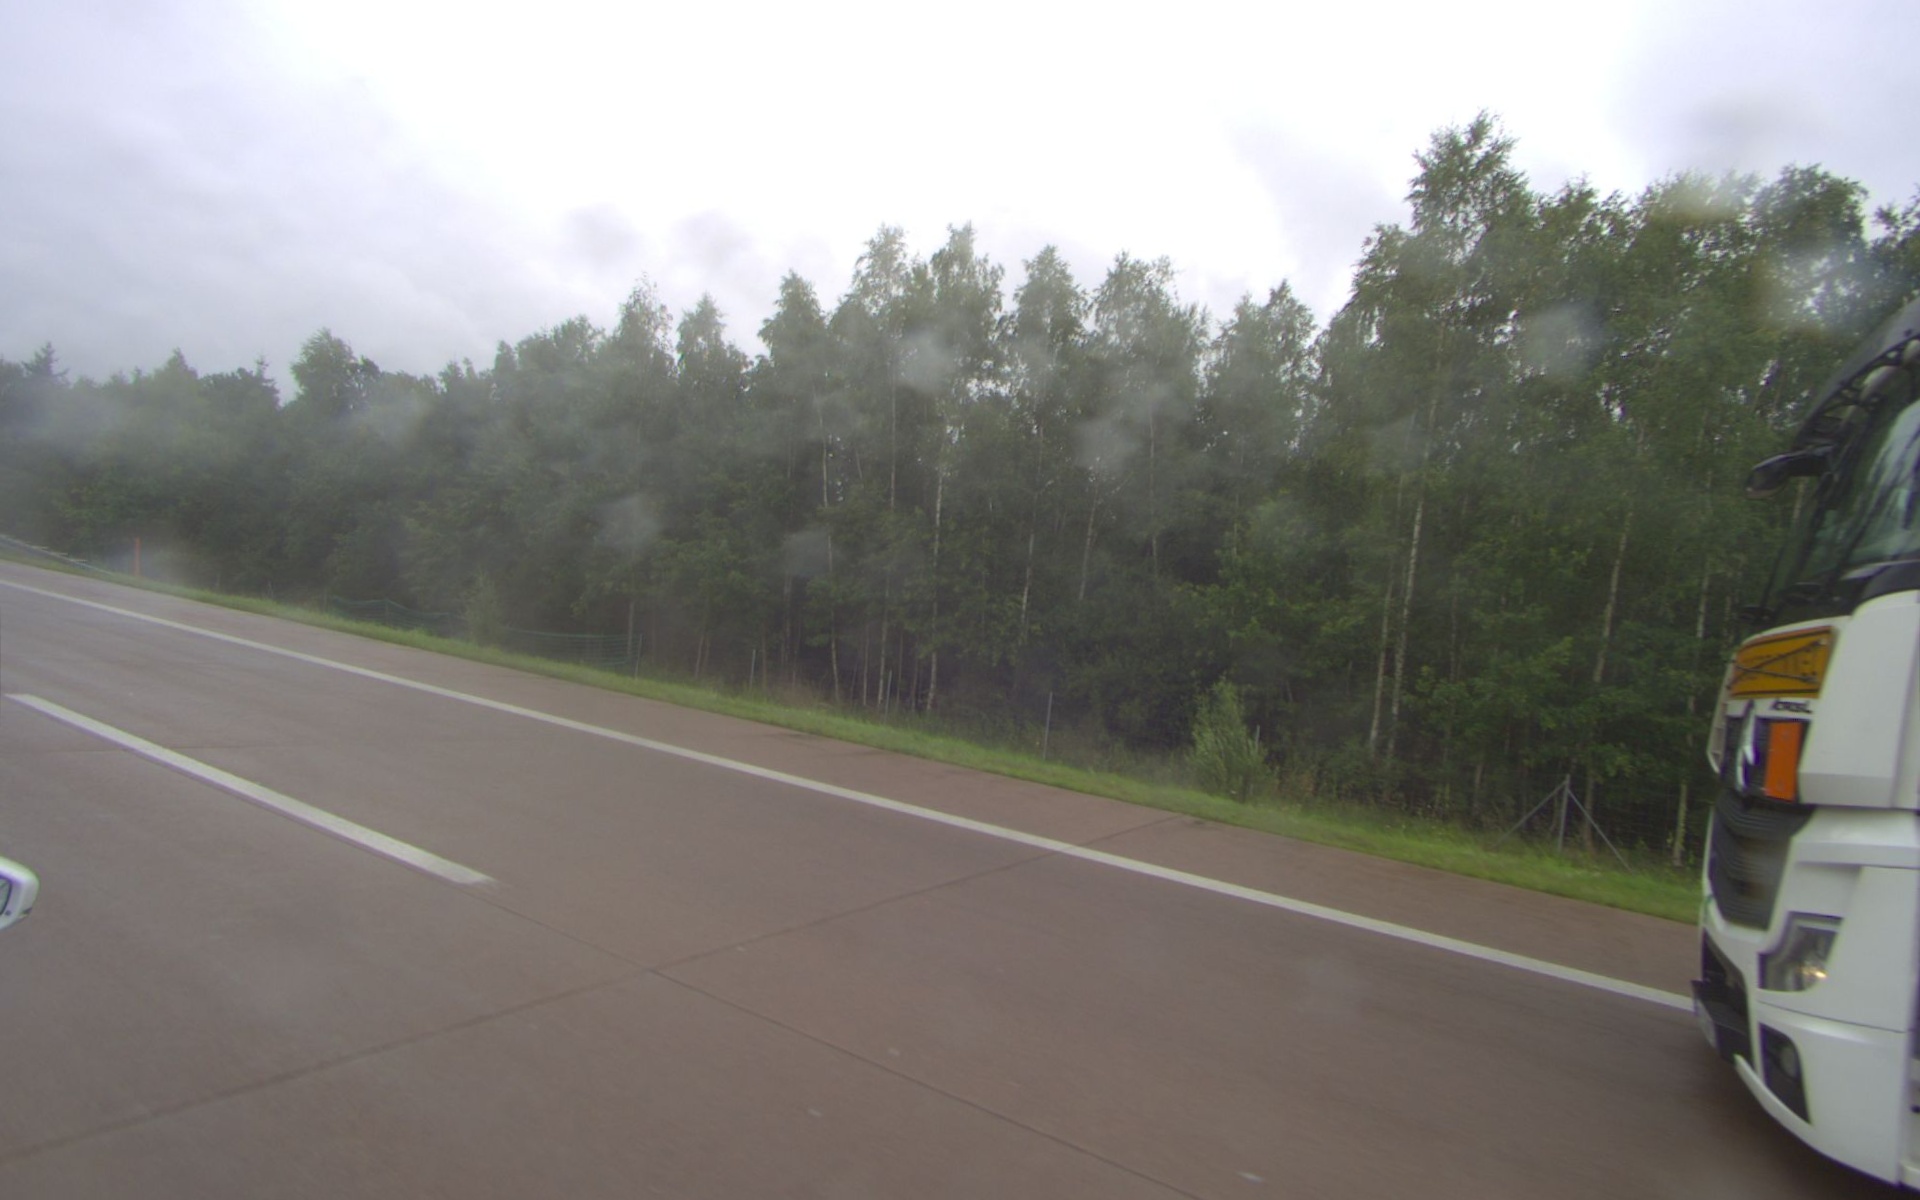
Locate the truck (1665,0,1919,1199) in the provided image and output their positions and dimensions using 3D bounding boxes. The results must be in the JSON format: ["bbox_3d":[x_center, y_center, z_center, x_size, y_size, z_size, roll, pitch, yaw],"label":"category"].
[{"bbox_3d":[6.107,0.170,2.696,6.242,4.159,2.883,8,1,31],"label":"truck"}]
